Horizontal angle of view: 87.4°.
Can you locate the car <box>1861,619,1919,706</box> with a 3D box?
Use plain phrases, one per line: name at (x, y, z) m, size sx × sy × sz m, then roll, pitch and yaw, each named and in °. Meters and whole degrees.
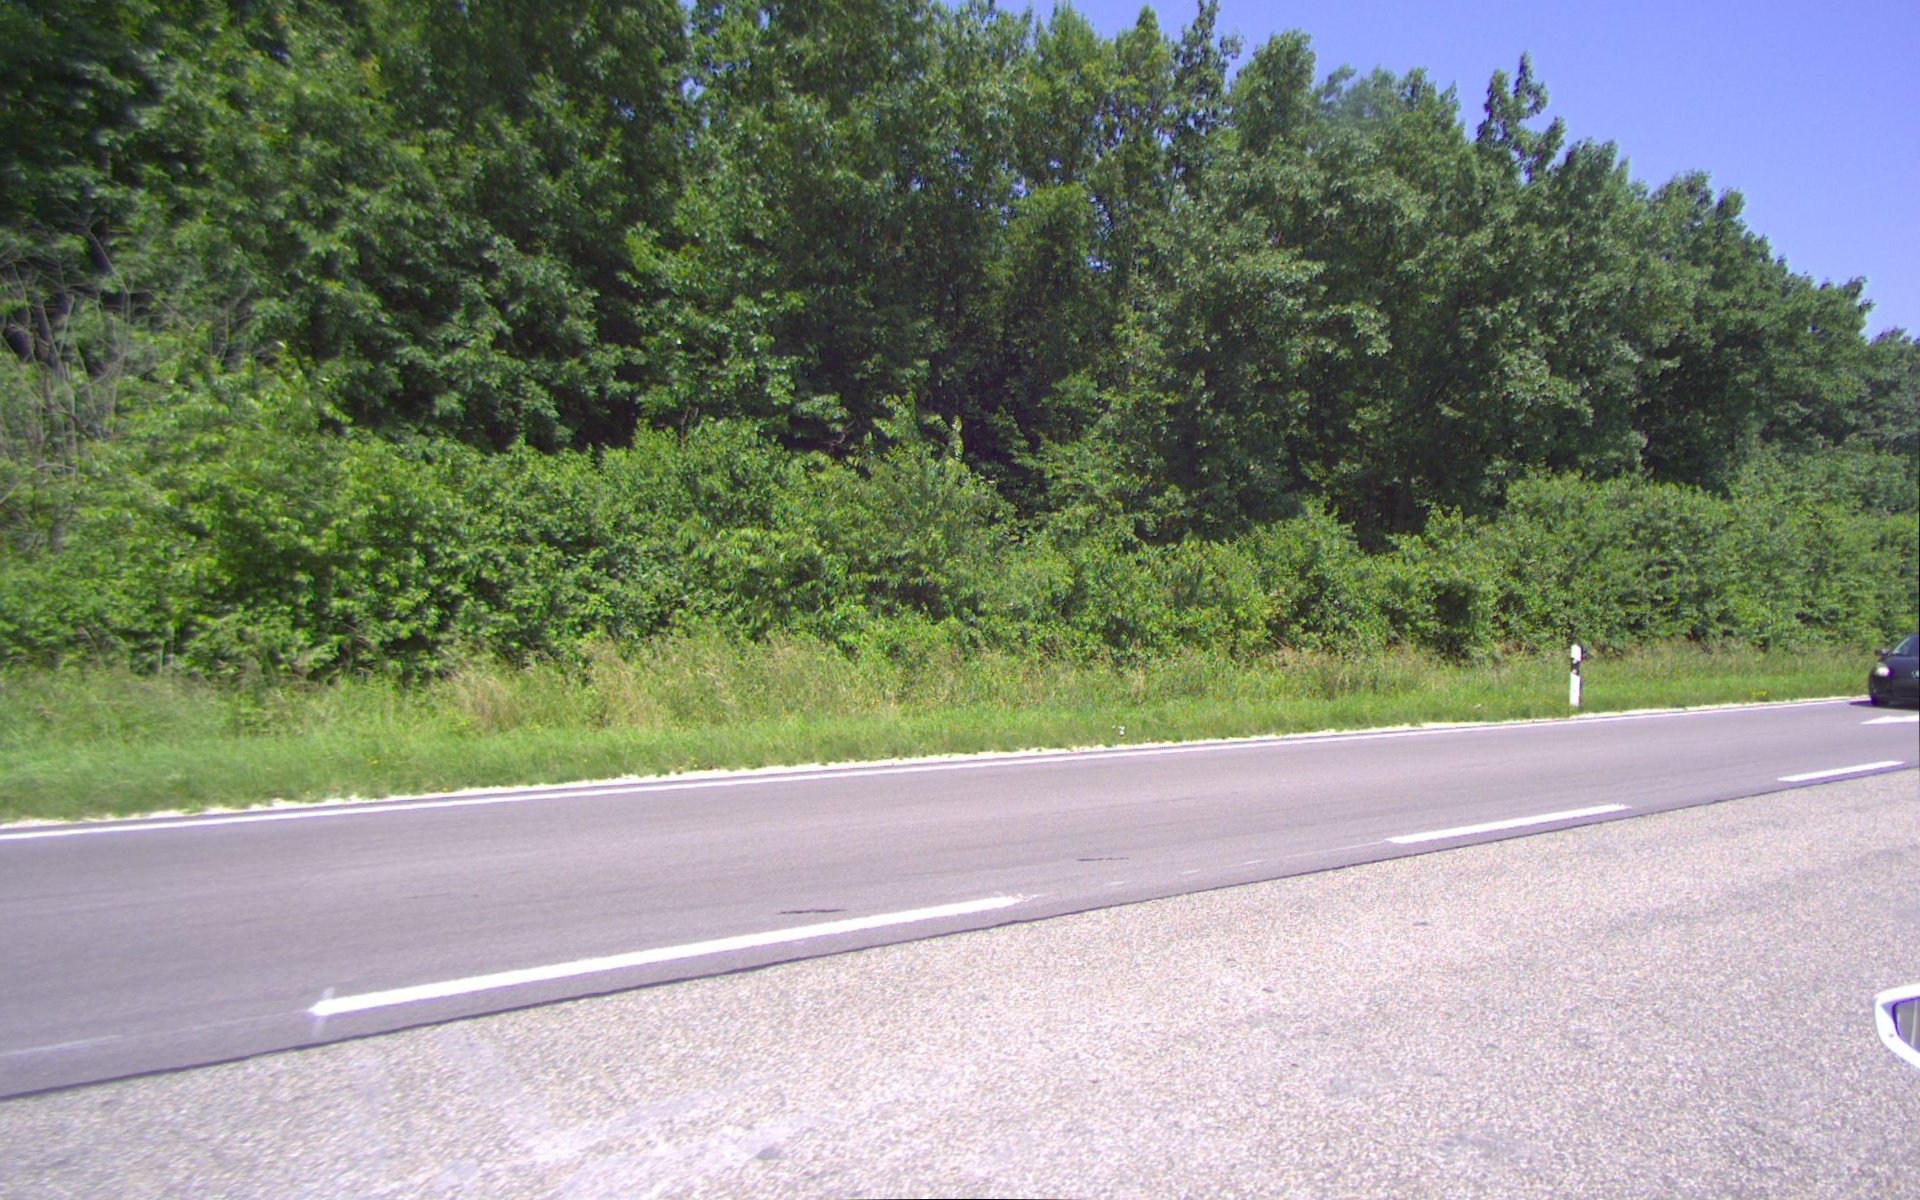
car at (18.609, 1.166, 18.830) m, size 3.512 × 1.522 × 1.606 m, roll 1°, pitch 0°, yaw -31°
